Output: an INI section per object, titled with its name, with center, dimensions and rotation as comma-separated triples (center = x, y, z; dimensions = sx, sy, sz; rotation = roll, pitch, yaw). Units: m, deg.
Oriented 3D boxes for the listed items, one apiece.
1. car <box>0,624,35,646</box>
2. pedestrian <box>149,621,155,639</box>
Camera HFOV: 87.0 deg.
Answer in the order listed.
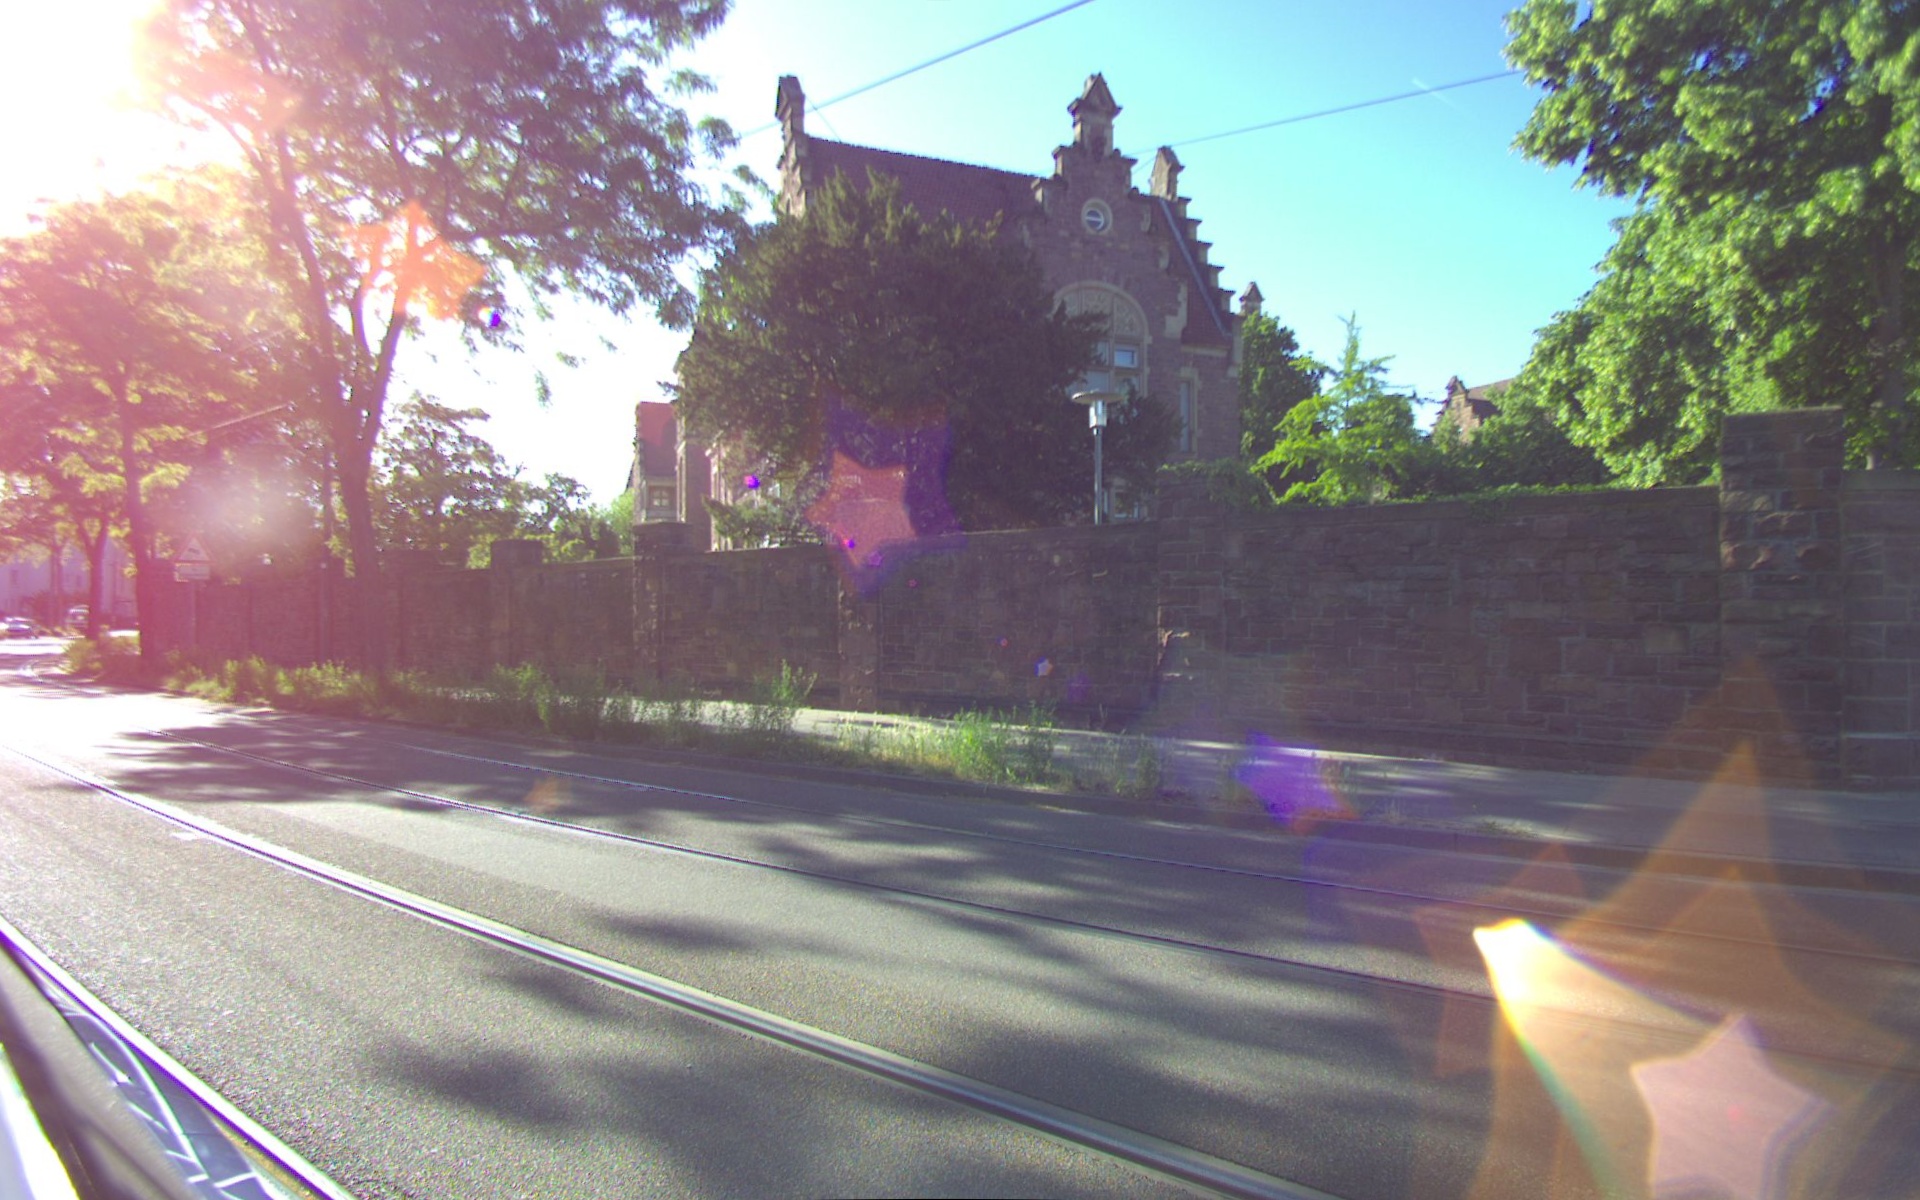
[car]
center = -68.896, 2.517, 73.848
dimensions = 1.969, 1.560, 4.005
rotation = 0, -1, -41
[pedestrian]
center = -83.862, 3.147, 105.039
dimensions = 0.516, 1.847, 0.588
rotation = 0, -1, -34
